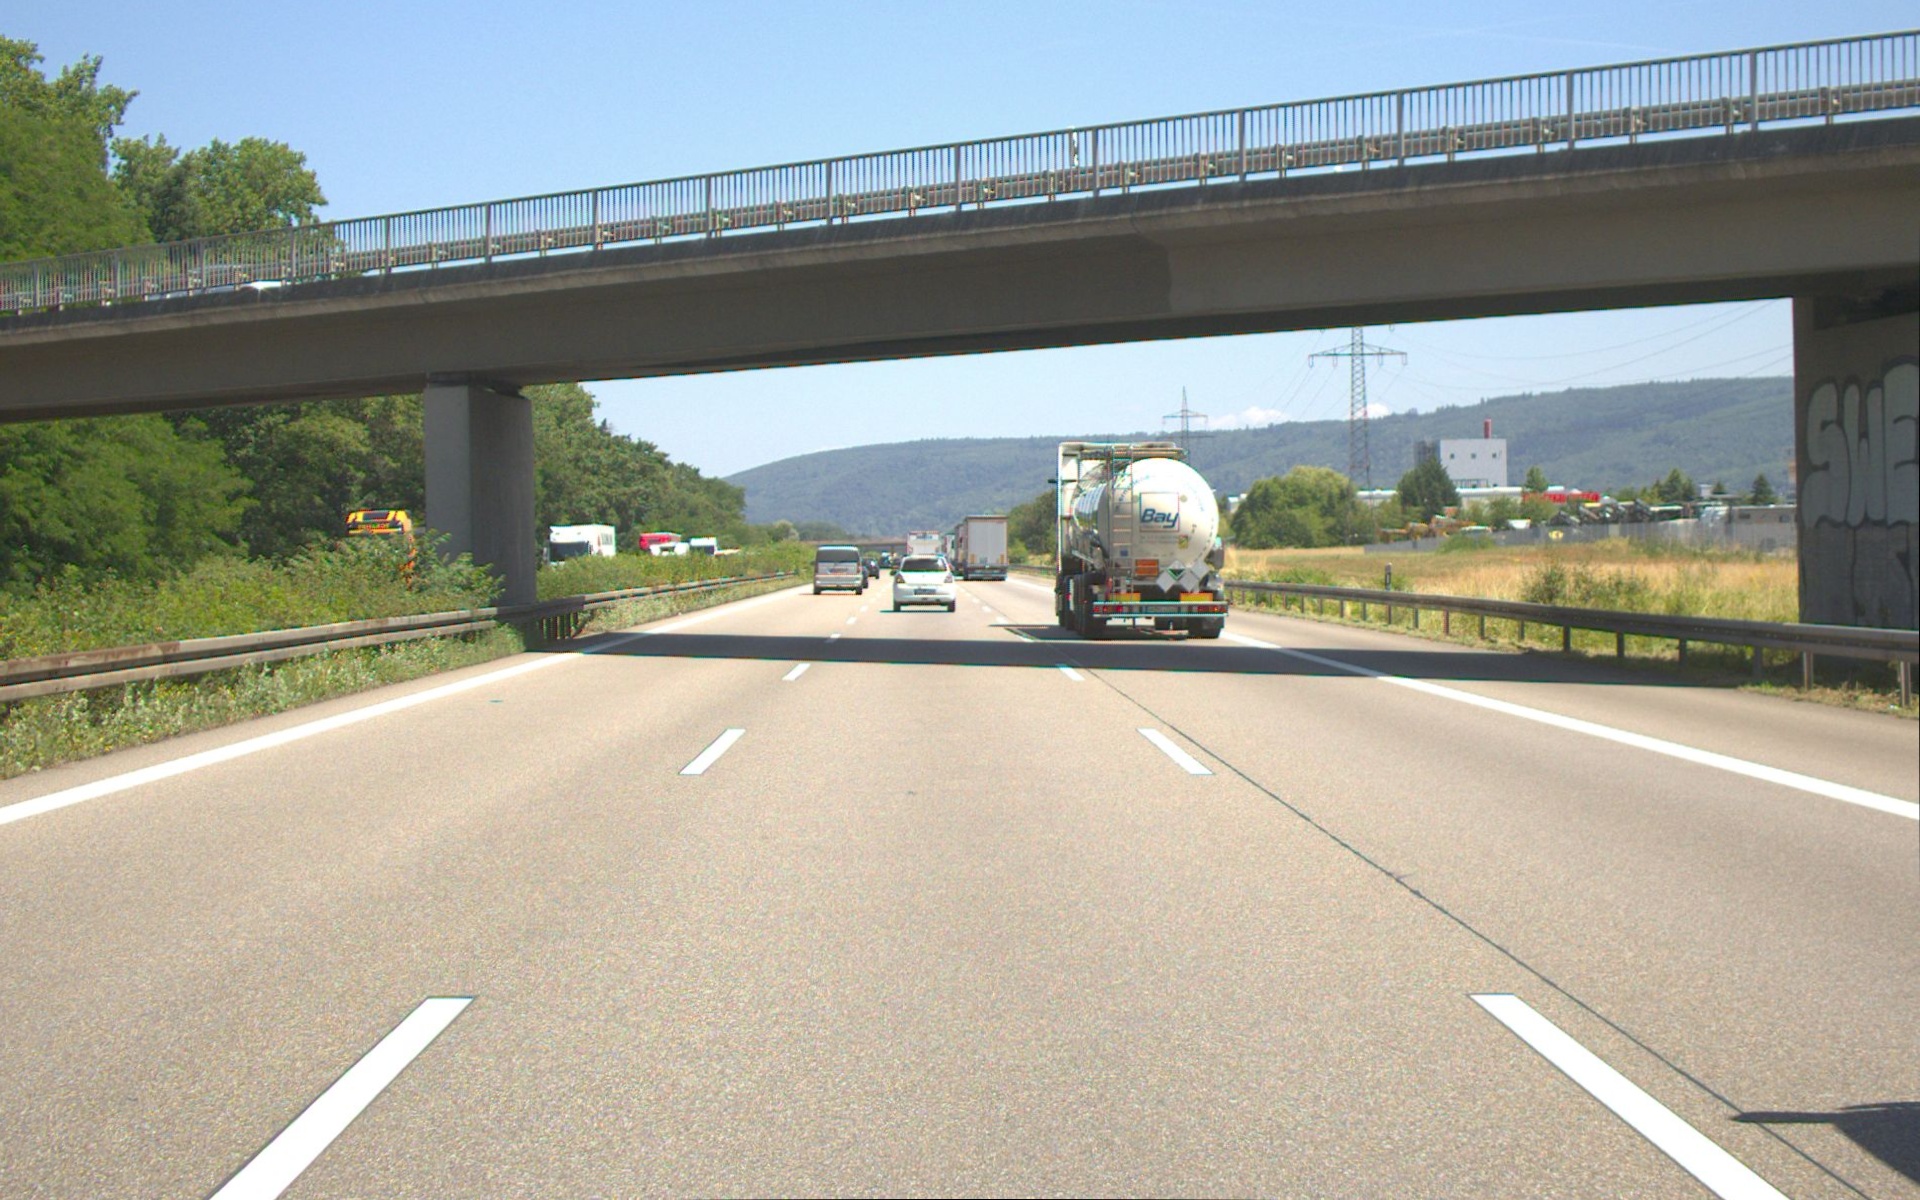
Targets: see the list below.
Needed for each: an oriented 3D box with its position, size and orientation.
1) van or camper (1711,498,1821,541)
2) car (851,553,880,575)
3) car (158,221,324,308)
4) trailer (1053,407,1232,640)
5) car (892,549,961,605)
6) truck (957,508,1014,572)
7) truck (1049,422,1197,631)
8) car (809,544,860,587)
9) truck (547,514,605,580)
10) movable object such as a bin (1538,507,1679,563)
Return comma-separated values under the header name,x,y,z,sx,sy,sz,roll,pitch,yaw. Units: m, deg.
name,x,y,z,sx,sy,sz,roll,pitch,yaw
van or camper,50.945,-5.090,217.373,6.343,2.544,2.438,-2,1,1
car,-6.288,-2.401,228.422,1.835,1.382,4.000,1,1,0
car,-14.747,-6.838,70.399,1.634,1.463,3.999,0,1,-40
trailer,3.369,-1.430,66.088,2.580,4.060,11.104,1,1,-1
car,-0.906,-0.640,93.645,1.806,1.463,4.000,1,1,0
truck,1.548,-3.790,216.655,3.265,3.844,11.632,1,1,-1
truck,3.288,-1.493,70.801,2.573,4.058,6.393,1,1,-1
car,-4.909,-1.371,135.183,1.852,1.627,4.000,1,1,0
truck,-22.324,-3.093,199.880,2.795,3.708,5.117,1,1,0
movable object such as a bin,47.736,-4.772,253.230,9.717,3.677,2.633,-2,0,2
